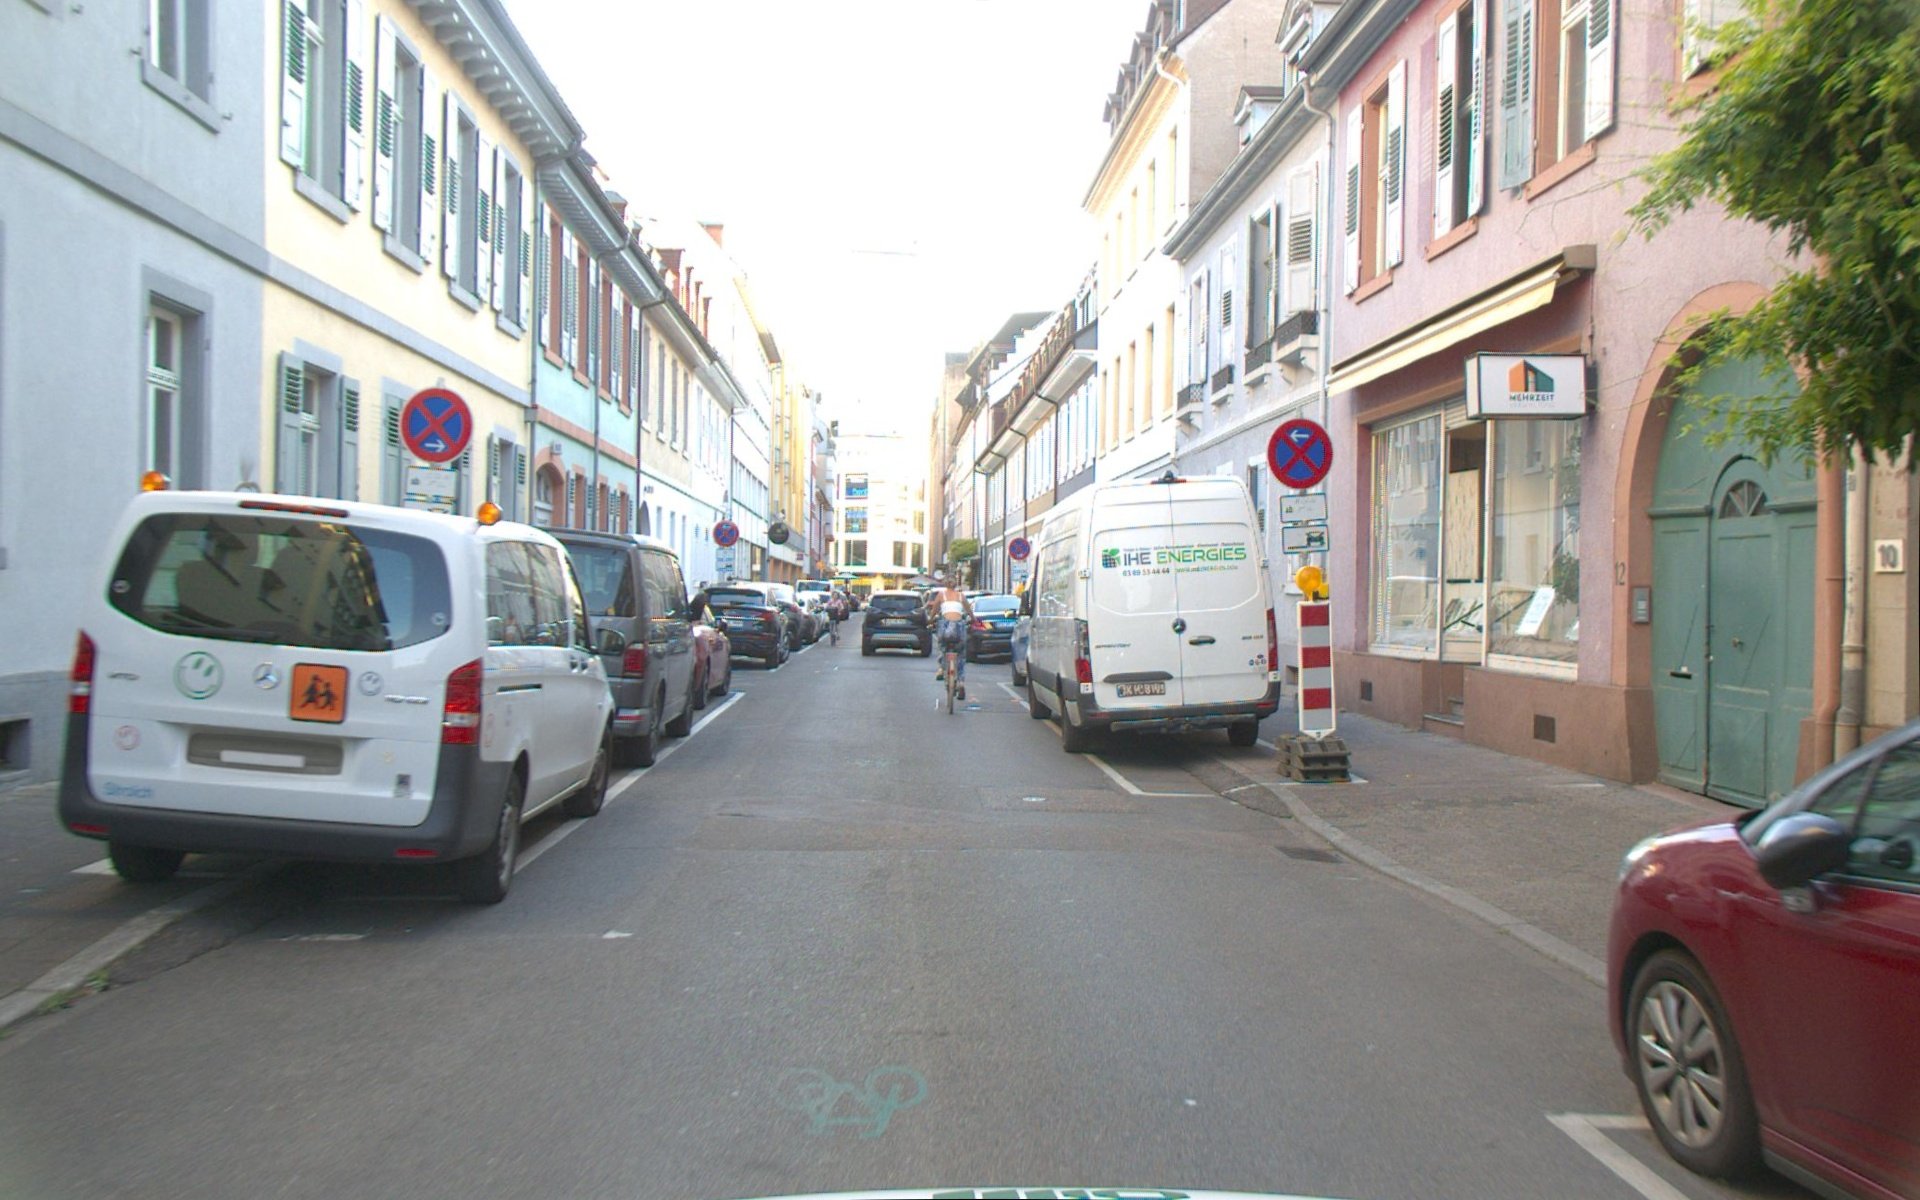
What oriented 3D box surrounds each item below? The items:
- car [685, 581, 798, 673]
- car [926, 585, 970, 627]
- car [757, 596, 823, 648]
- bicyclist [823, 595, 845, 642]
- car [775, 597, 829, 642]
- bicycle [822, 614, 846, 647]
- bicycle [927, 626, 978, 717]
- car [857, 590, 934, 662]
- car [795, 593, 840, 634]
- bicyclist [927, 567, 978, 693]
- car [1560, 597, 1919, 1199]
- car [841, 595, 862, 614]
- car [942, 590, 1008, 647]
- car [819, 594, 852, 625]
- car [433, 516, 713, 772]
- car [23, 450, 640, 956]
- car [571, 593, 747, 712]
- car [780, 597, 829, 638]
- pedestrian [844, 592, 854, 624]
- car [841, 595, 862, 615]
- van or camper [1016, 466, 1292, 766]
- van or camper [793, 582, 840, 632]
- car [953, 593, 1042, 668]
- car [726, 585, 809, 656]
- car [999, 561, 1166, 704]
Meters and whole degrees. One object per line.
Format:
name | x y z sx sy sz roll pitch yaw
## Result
car | -4.346 0.502 33.465 1.766 1.706 4.488 1 0 -1
car | -0.513 0.239 68.227 1.620 1.588 3.604 2 0 -3
car | -5.213 0.656 51.136 1.880 1.459 4.290 2 0 -4
bicyclist | -3.784 0.557 49.772 0.593 1.393 0.621 1 0 -2
car | -5.438 0.652 57.274 1.620 1.435 3.900 2 0 -3
bicycle | -3.783 0.916 49.669 0.601 0.948 1.886 1 0 -1
bicycle | -0.111 0.914 21.626 0.601 1.101 1.808 1 0 -2
car | -1.652 0.627 41.779 1.783 1.646 3.997 2 0 -3
car | -5.807 0.534 67.601 1.620 1.588 3.604 2 0 -3
bicyclist | -0.102 0.382 21.529 0.608 1.602 0.683 1 0 -2
car | 2.886 0.775 3.476 1.622 1.531 3.750 1 0 -5
car | -9.325 0.375 142.151 1.620 1.588 3.604 2 0 -3
car | 0.479 0.599 56.123 1.880 1.768 4.150 2 0 -4
car | -6.745 0.481 90.099 1.620 1.588 3.604 2 0 -3
car | -3.483 0.351 15.781 1.826 2.049 4.810 1 0 -4
car | -3.055 0.418 9.324 1.826 2.049 5.102 1 0 -4
car | -3.965 0.648 22.433 1.729 1.426 4.261 1 0 -2
car | -5.862 0.646 62.614 1.620 1.435 3.604 2 0 -3
pedestrian | -6.295 0.440 93.872 0.543 1.783 0.567 1 0 -6
car | -8.870 0.382 135.340 1.620 1.588 3.604 2 0 -3
van or camper | 1.876 0.131 18.472 2.009 2.683 7.060 1 0 -2
van or camper | -6.342 0.293 73.386 1.807 2.048 4.676 2 0 -3
car | 0.817 0.676 38.855 1.783 1.556 5.069 -2 0 -1
car | -5.145 0.511 44.607 1.958 1.737 4.532 2 0 -4
car | 1.799 0.462 26.024 1.902 1.927 5.314 -2 0 -3
